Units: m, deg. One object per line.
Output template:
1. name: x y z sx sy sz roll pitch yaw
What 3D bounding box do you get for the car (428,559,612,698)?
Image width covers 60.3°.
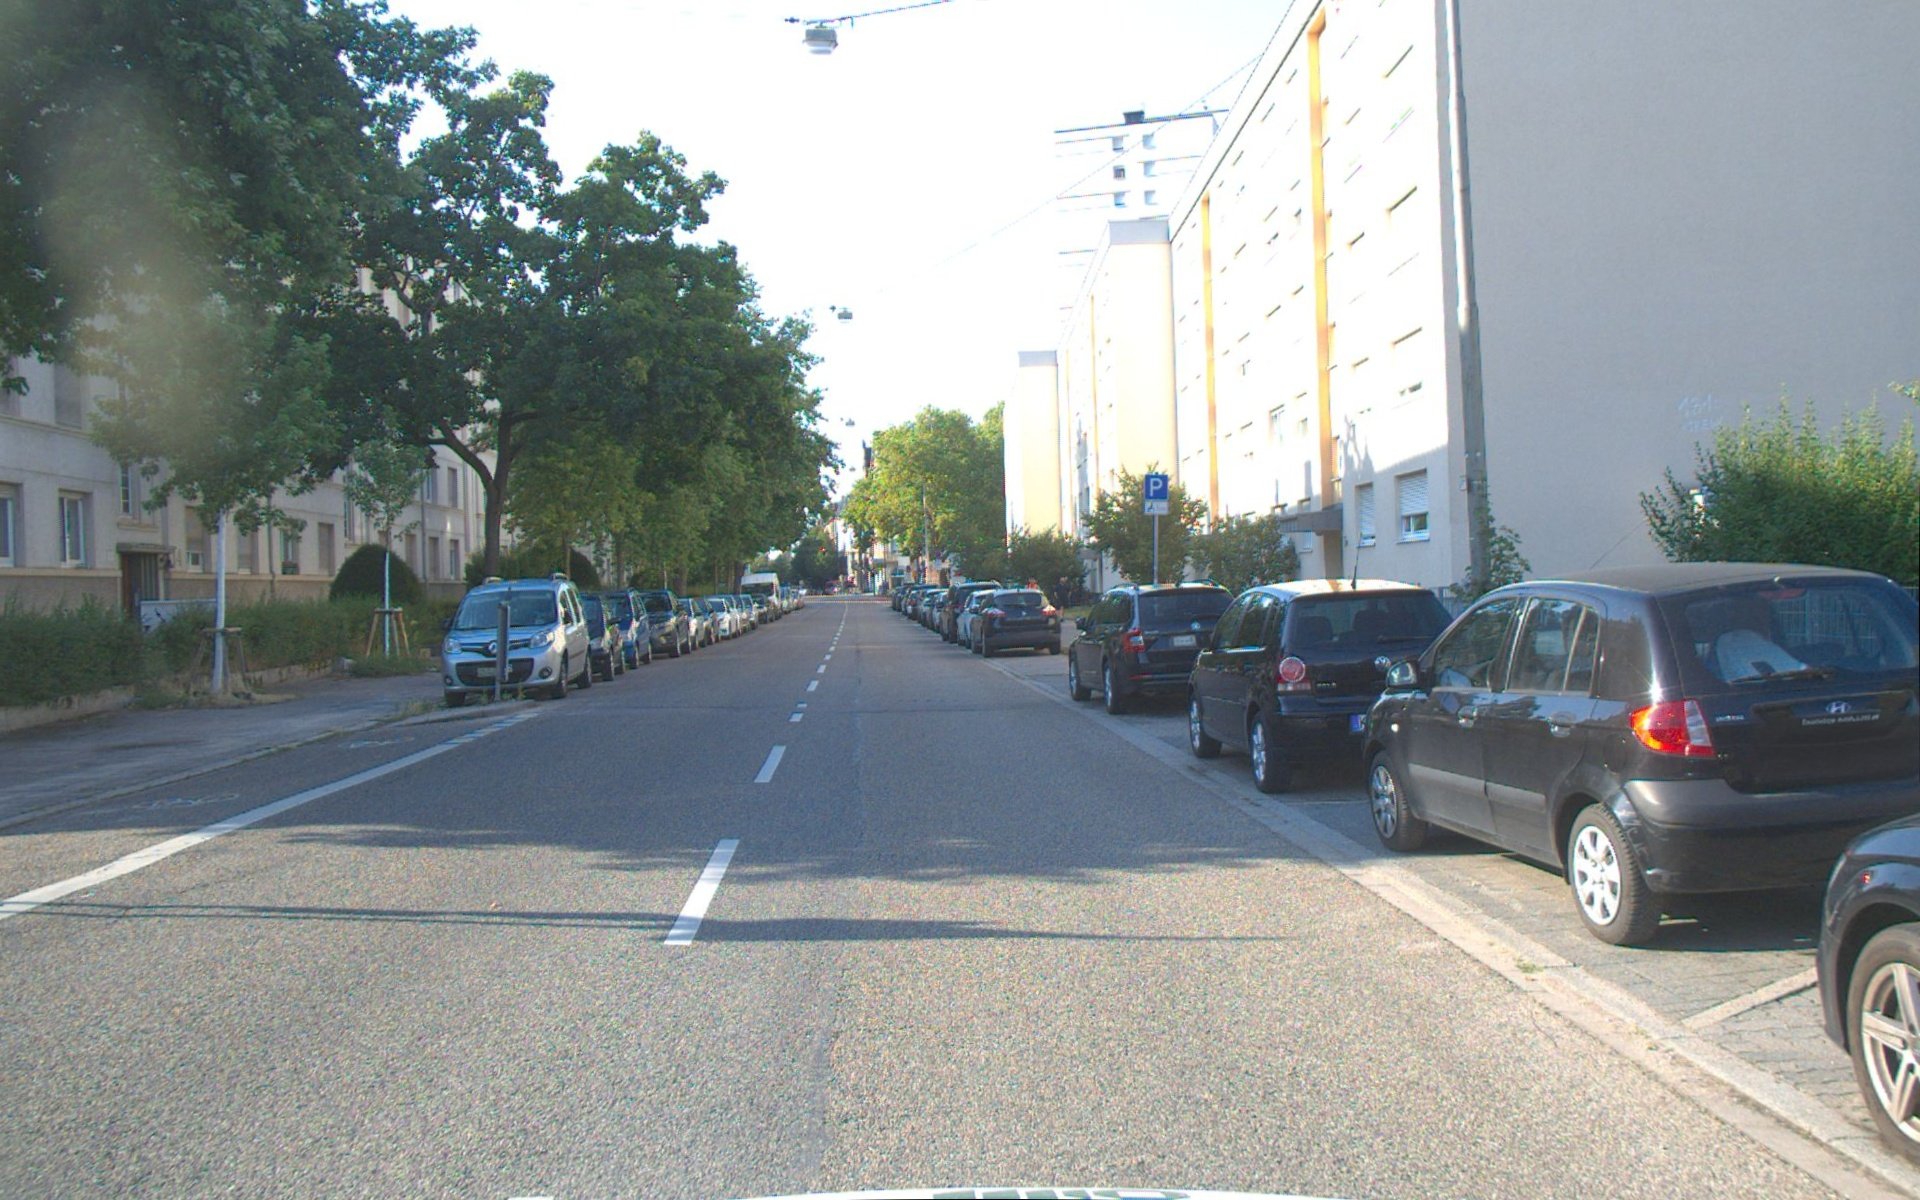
1. car: -6.714 0.423 25.730 1.804 1.929 4.484 -1 0 -3

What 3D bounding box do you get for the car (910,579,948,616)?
1. car: -1.557 -0.106 83.594 1.800 1.803 3.977 -1 0 -1

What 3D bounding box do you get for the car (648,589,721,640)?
1. car: -8.242 0.435 49.809 1.837 1.459 4.798 0 -1 -5

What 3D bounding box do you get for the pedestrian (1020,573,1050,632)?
1. pedestrian: 2.494 0.090 54.901 0.871 1.923 1.278 0 -1 -4

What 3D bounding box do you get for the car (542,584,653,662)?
1. car: -7.742 0.486 35.636 1.837 1.579 3.995 0 -1 -5

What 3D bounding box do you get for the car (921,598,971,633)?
1. car: -0.651 0.688 71.493 1.837 1.468 3.995 0 -1 -5

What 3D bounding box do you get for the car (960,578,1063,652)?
1. car: 1.127 0.347 38.444 1.764 1.533 4.616 -2 0 -5

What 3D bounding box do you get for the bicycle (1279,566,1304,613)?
1. bicycle: 8.629 -0.265 43.036 0.326 1.213 1.239 0 -1 -3

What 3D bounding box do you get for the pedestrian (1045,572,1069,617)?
1. pedestrian: 3.720 -0.202 63.675 0.751 1.687 0.536 -4 -1 -4

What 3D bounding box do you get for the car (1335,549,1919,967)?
1. car: 3.260 0.520 8.120 1.618 1.461 3.956 -2 2 -5

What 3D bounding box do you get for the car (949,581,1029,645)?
1. car: 0.734 0.346 44.196 1.737 1.534 3.997 -4 0 -4

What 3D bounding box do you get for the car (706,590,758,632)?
1. car: -8.754 0.429 63.742 1.837 1.579 3.995 0 -1 -5

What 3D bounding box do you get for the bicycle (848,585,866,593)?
1. bicycle: -15.851 -1.694 254.422 2.752 1.224 0.508 0 -1 -11

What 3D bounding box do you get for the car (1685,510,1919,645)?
1. car: 12.343 -0.331 22.223 4.386 1.629 1.732 -3 -1 -1

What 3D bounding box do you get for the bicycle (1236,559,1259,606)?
1. bicycle: 7.476 -0.441 43.055 0.326 1.213 1.239 0 -1 -3

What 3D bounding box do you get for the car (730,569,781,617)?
1. car: -10.977 -0.353 89.248 2.311 2.488 6.160 0 -1 -3

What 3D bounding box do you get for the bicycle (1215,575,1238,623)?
1. bicycle: 6.795 -0.028 42.191 0.326 1.213 1.239 0 -1 -3

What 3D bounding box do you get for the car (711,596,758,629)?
1. car: -9.840 0.556 72.555 1.837 1.379 4.648 0 -1 -5

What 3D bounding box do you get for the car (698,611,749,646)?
1. car: -9.458 1.128 66.453 1.837 1.379 3.995 0 -1 -5

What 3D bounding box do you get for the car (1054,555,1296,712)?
1. car: 2.501 0.378 20.537 1.850 1.588 4.940 -4 0 -5

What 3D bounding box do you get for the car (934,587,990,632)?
1. car: 0.029 0.367 61.304 1.737 1.479 3.997 -4 0 -4

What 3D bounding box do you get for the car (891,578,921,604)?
1. car: -3.655 -0.620 111.245 1.860 1.680 4.338 0 0 -5

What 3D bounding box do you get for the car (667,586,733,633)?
1. car: -8.968 0.333 57.353 1.965 1.579 4.466 0 -1 -5

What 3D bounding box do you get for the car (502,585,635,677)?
1. car: -7.113 0.545 30.414 1.837 1.579 3.995 0 -1 -5

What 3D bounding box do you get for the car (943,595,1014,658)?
1. car: 0.499 0.764 49.157 1.736 1.707 4.643 -2 0 -4

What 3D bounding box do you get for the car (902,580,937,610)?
1. car: -2.191 -0.243 88.072 1.800 1.528 4.170 0 -1 -3

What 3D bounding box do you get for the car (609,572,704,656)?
1. car: -8.251 0.377 45.337 1.954 2.048 3.997 -4 0 -4

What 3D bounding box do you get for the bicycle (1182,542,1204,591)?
1. bicycle: 6.021 -0.858 42.815 0.326 1.213 1.239 0 -1 -3

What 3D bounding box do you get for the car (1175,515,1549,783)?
1. car: 3.017 0.350 13.471 1.863 1.810 4.580 0 -1 -1

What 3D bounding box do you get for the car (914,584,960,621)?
1. car: -1.136 0.126 78.648 1.923 1.633 4.276 -3 0 -4

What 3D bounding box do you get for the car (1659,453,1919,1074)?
1. car: 3.350 0.392 3.218 1.863 1.556 4.809 -1 -1 -1

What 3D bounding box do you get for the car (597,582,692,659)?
1. car: -7.730 0.500 40.892 1.837 1.790 4.684 0 -1 -5
